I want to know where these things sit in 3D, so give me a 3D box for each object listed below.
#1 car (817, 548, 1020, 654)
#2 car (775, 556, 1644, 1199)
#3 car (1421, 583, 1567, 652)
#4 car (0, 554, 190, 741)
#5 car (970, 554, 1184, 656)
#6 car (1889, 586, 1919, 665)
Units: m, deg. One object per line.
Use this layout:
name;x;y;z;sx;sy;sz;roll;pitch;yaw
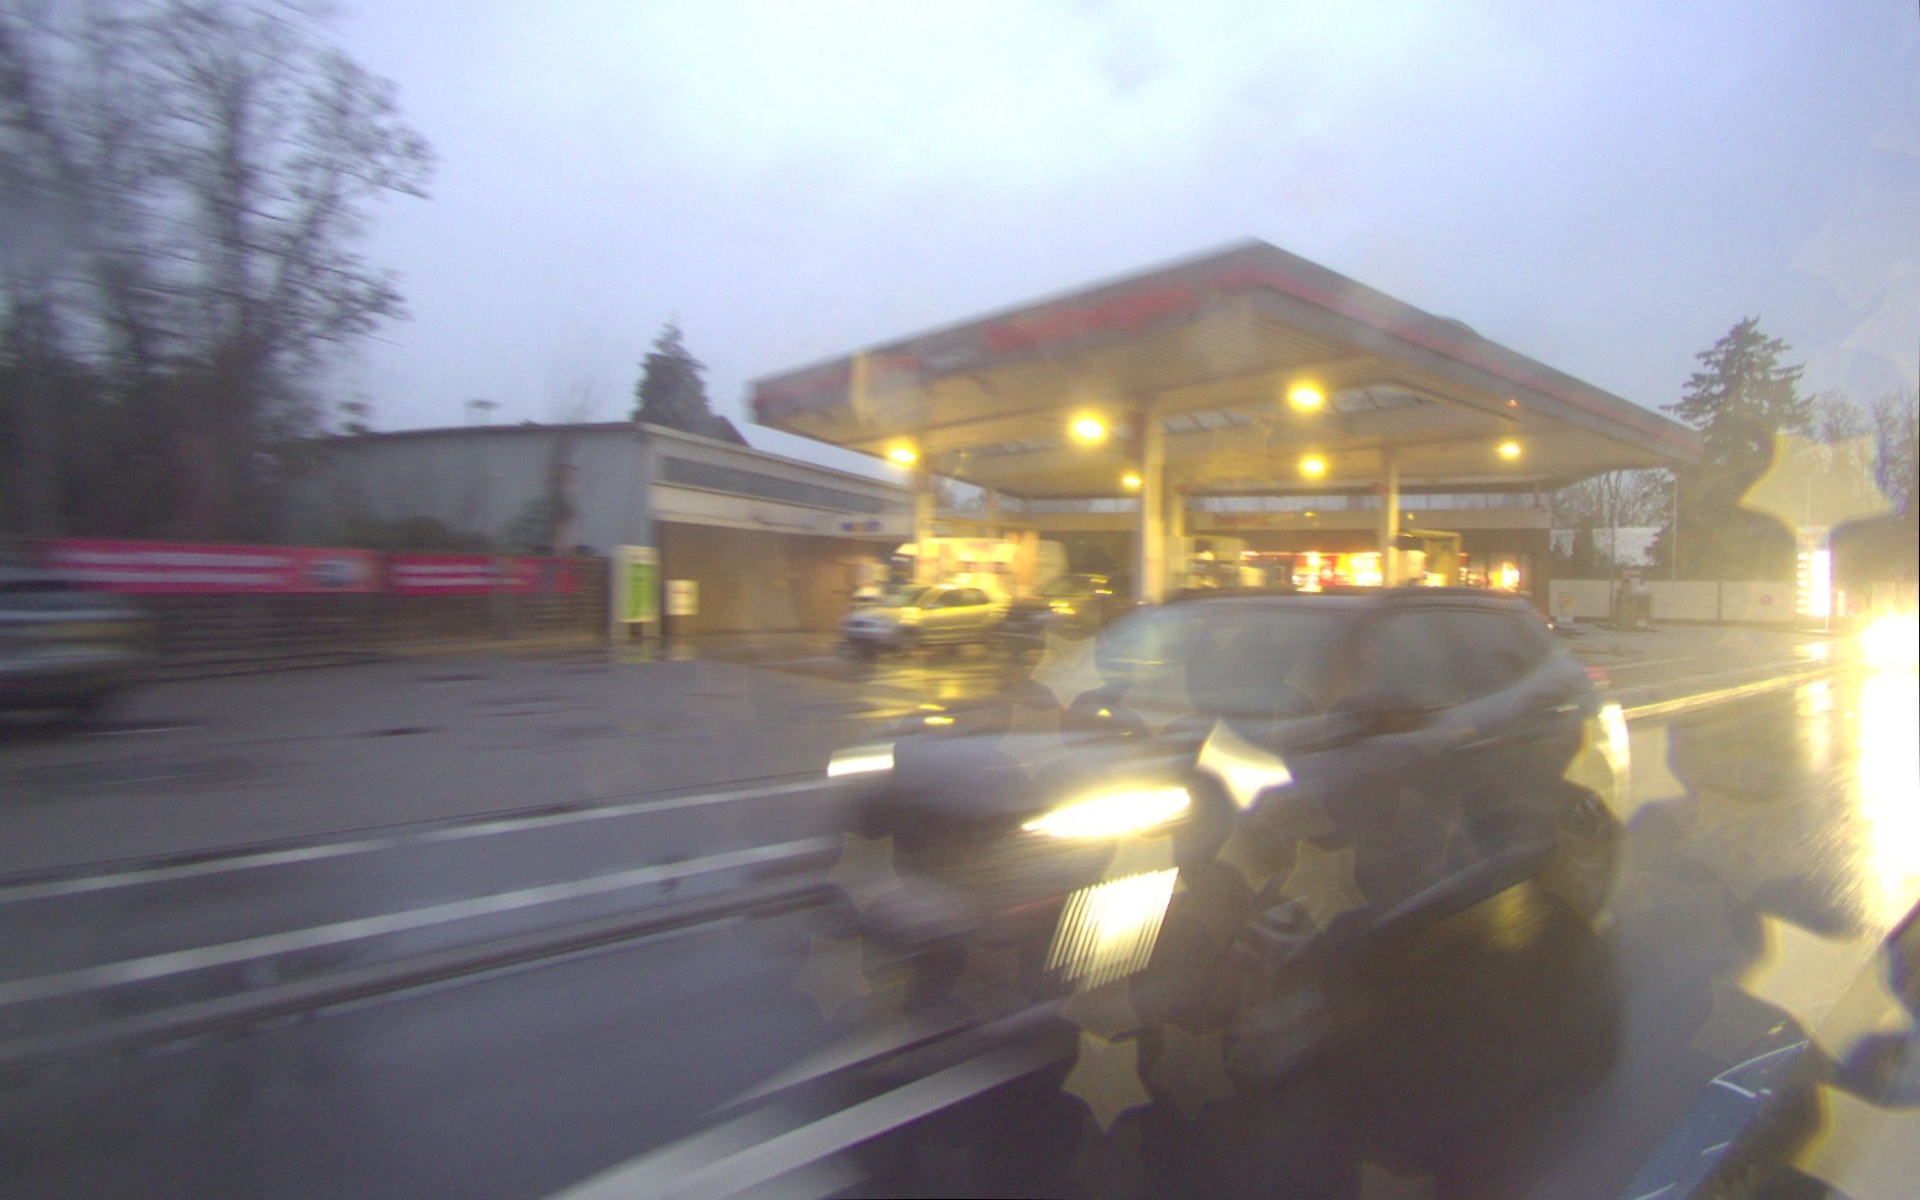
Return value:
car;-0.828;-0.011;21.519;3.929;2.039;1.997;-1;1;-40
car;1.337;0.643;4.304;3.935;1.548;1.568;-1;1;-39
car;12.434;0.349;23.474;4.095;1.414;1.576;0;2;-40
car;-10.433;0.374;9.975;4.406;1.628;2.016;1;1;7
car;2.466;0.038;20.776;4.223;1.882;1.998;-1;2;-40
car;20.061;0.474;20.231;3.934;1.511;2.012;0;0;-44
